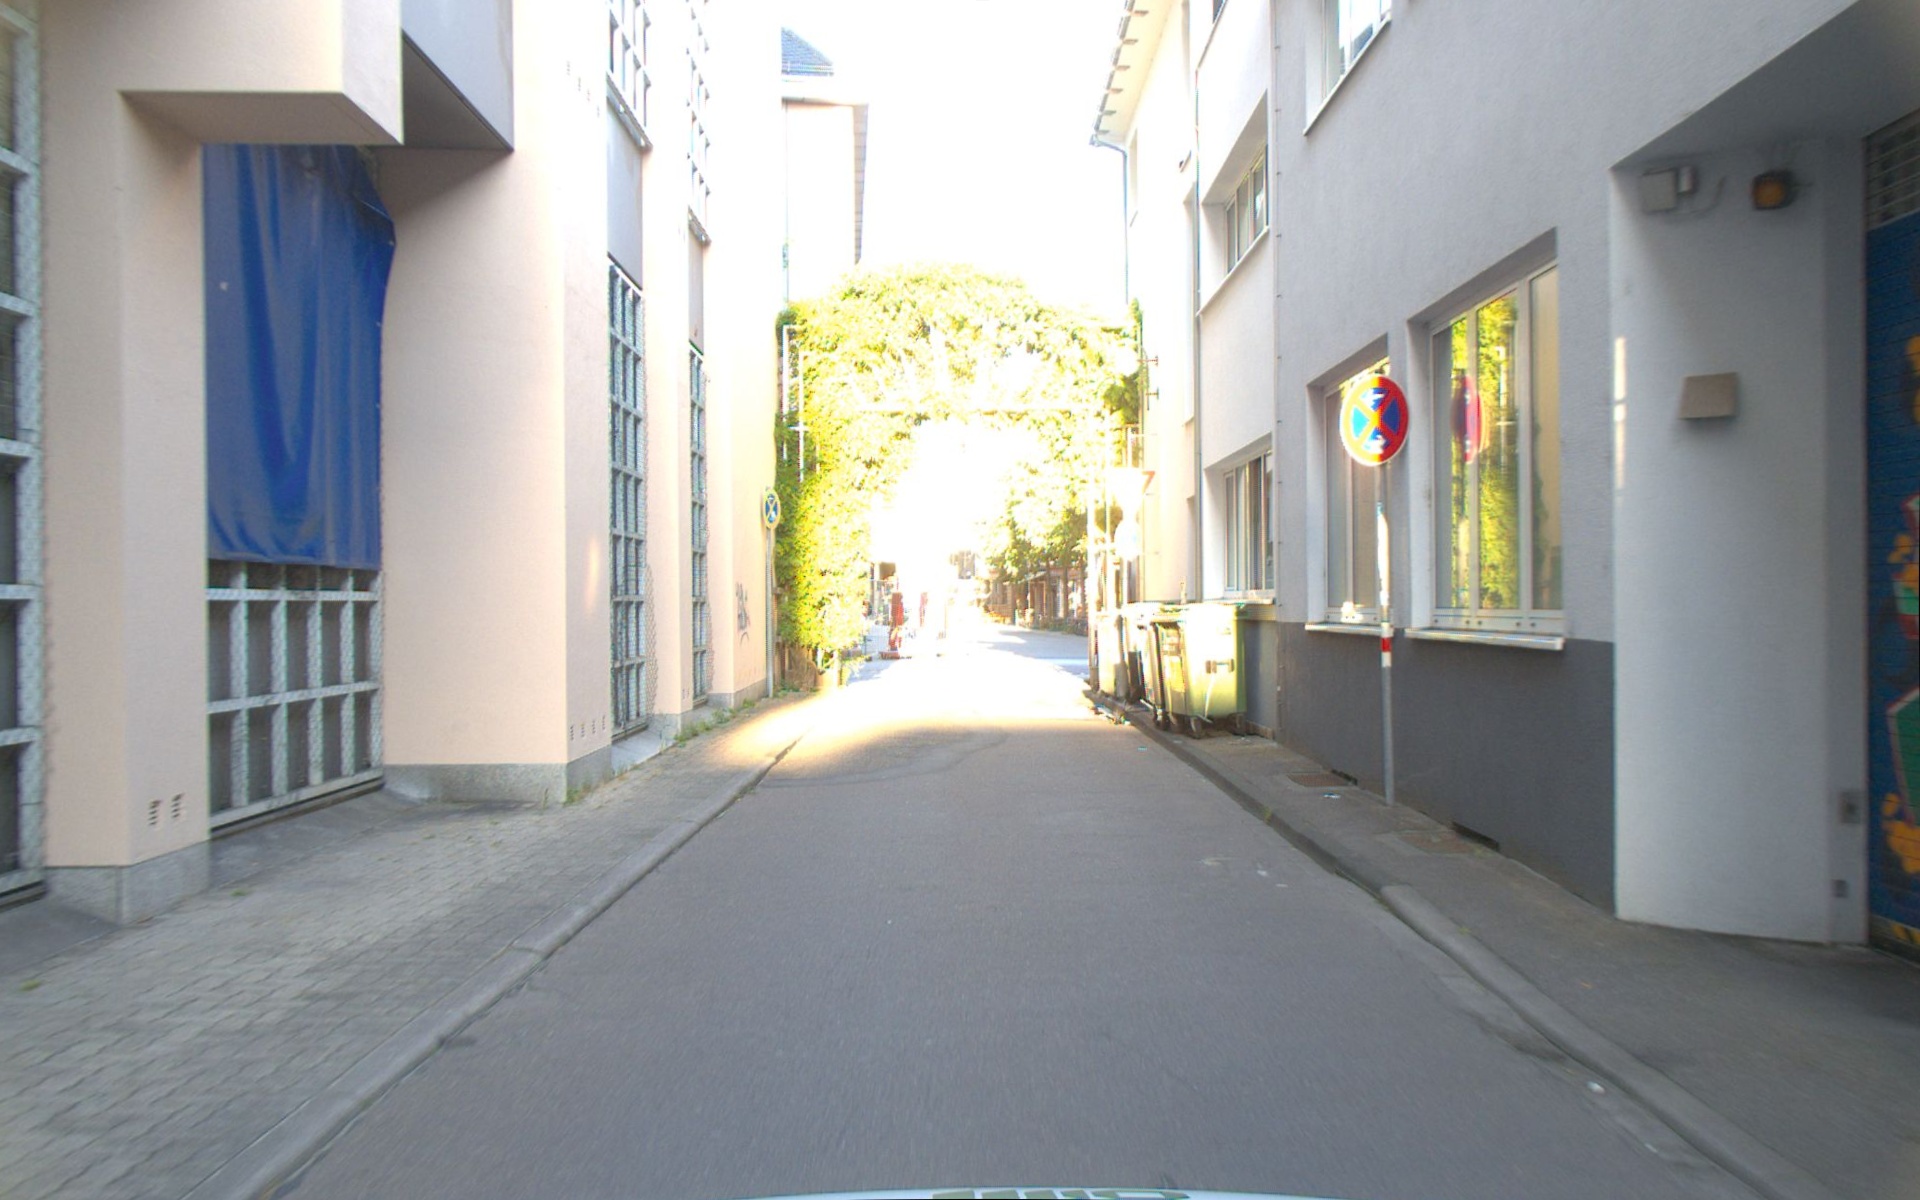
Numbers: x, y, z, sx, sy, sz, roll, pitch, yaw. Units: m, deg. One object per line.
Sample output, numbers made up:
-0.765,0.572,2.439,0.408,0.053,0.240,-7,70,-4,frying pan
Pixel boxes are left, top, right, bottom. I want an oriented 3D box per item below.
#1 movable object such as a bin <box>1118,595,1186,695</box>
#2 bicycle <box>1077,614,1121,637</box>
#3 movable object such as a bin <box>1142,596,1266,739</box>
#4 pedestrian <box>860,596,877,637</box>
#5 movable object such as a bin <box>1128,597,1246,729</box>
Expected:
2.713,0.622,23.506,0.818,1.327,1.290,-3,0,3,movable object such as a bin
7.026,1.295,83.396,2.107,1.080,0.591,-2,-2,12,bicycle
2.548,0.688,17.449,0.919,1.390,1.340,-3,0,-6,movable object such as a bin
-4.086,0.747,73.847,0.640,1.795,0.634,-1,-1,3,pedestrian
2.569,0.698,18.854,1.043,1.390,1.341,-3,0,-2,movable object such as a bin
